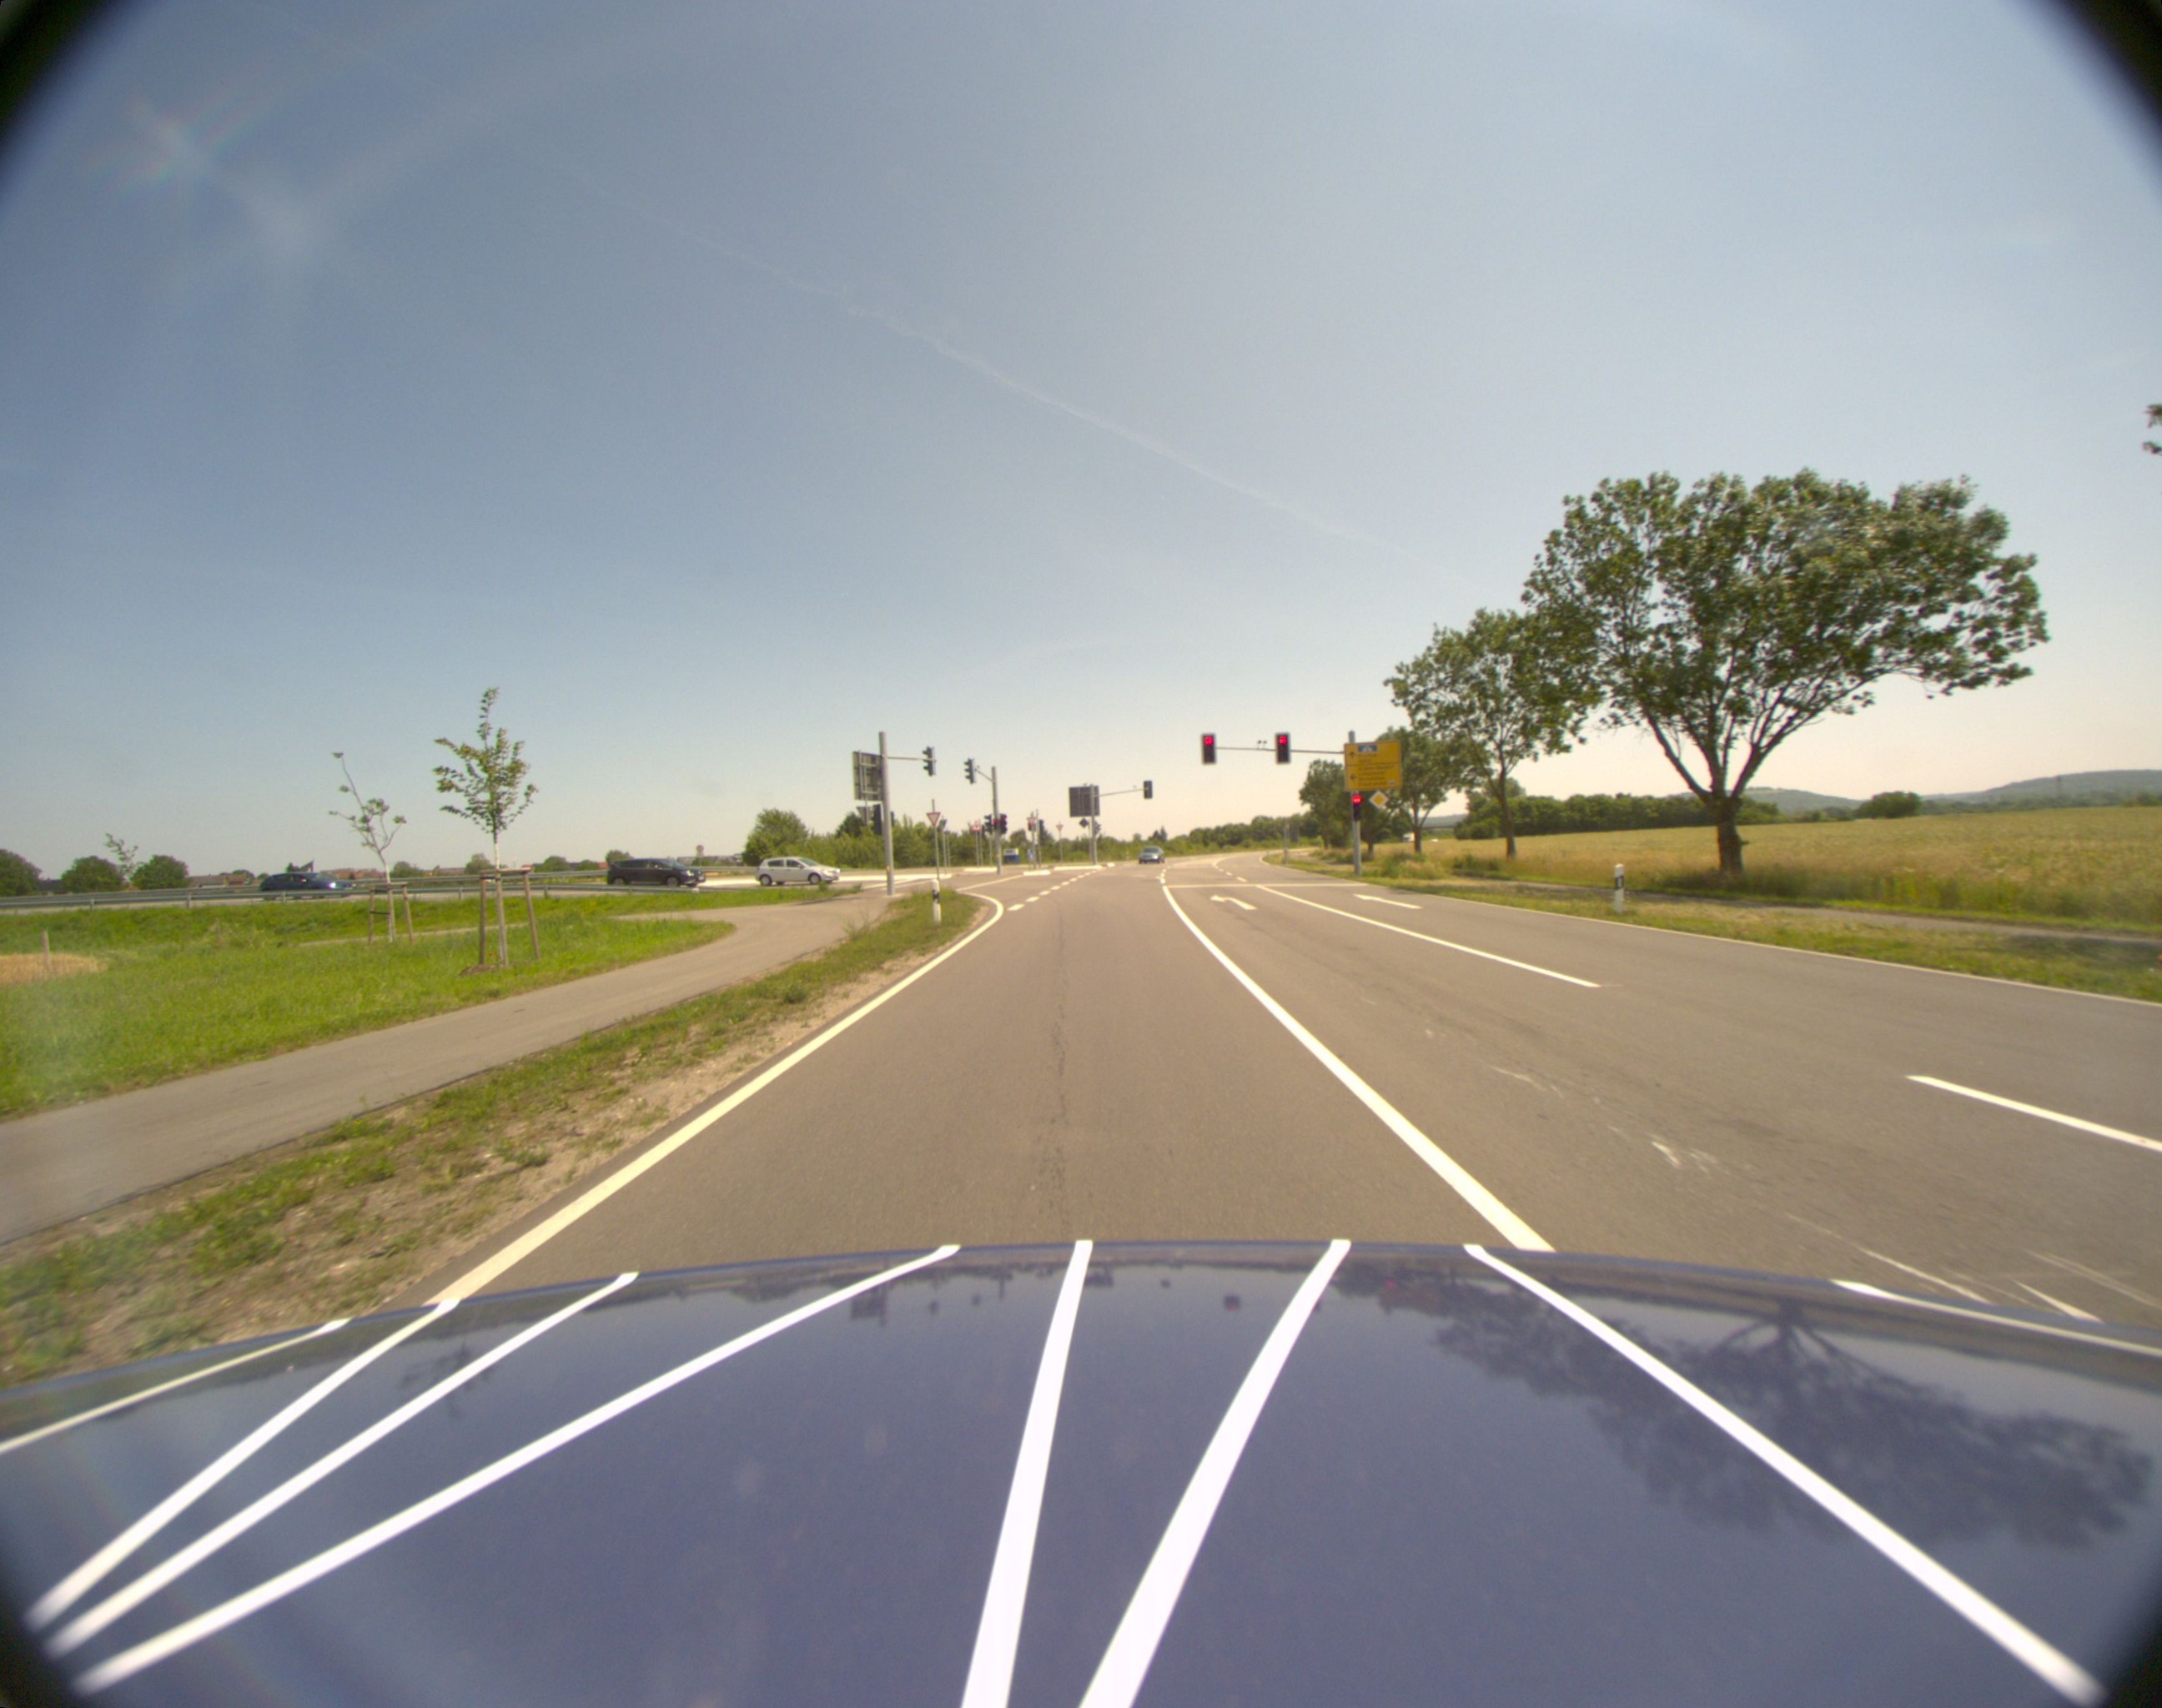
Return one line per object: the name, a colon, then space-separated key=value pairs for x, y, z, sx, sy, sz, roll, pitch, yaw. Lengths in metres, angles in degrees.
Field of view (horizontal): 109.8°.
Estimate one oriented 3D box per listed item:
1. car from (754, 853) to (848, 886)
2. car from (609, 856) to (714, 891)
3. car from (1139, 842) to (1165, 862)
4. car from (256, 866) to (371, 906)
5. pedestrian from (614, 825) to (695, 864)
car: x=-14.385 y=0.783 z=39.146 sx=4.147 sy=1.451 sz=1.661 roll=-2 pitch=1 yaw=6
car: x=-22.010 y=1.008 z=39.926 sx=4.521 sy=1.632 sz=1.814 roll=-2 pitch=2 yaw=6
car: x=6.016 y=-0.175 z=64.285 sx=1.655 sy=1.557 sz=4.004 roll=-1 pitch=1 yaw=13
car: x=-40.930 y=1.700 z=40.608 sx=3.918 sy=1.798 sz=1.919 roll=-3 pitch=1 yaw=-4
pedestrian: x=-22.976 y=-0.536 z=41.131 sx=1.998 sy=2.002 sz=3.999 roll=-1 pitch=1 yaw=1
